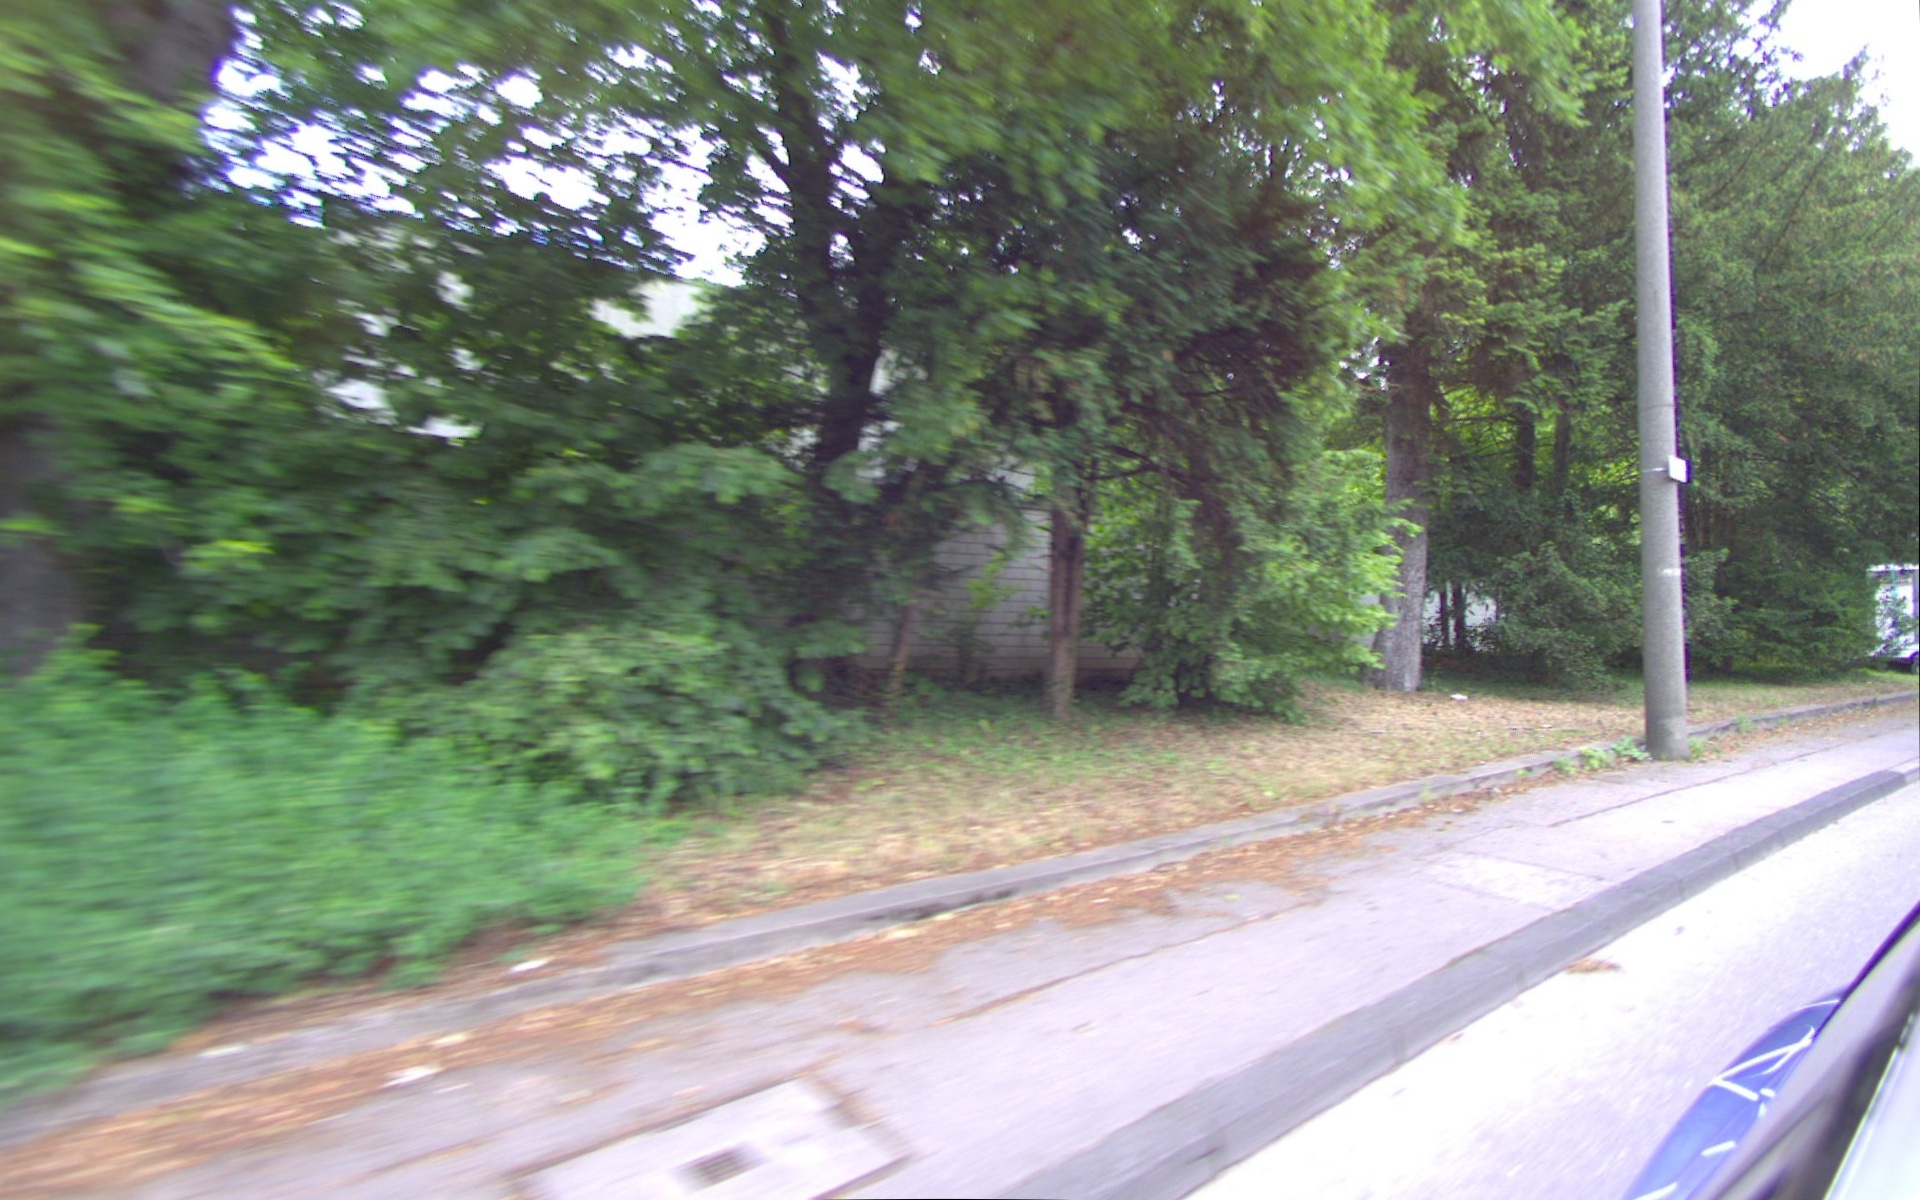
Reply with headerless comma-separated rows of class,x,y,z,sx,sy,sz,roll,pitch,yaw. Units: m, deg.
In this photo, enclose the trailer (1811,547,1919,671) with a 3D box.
trailer,23.143,0.214,24.856,1.562,2.936,3.126,1,-1,-35
